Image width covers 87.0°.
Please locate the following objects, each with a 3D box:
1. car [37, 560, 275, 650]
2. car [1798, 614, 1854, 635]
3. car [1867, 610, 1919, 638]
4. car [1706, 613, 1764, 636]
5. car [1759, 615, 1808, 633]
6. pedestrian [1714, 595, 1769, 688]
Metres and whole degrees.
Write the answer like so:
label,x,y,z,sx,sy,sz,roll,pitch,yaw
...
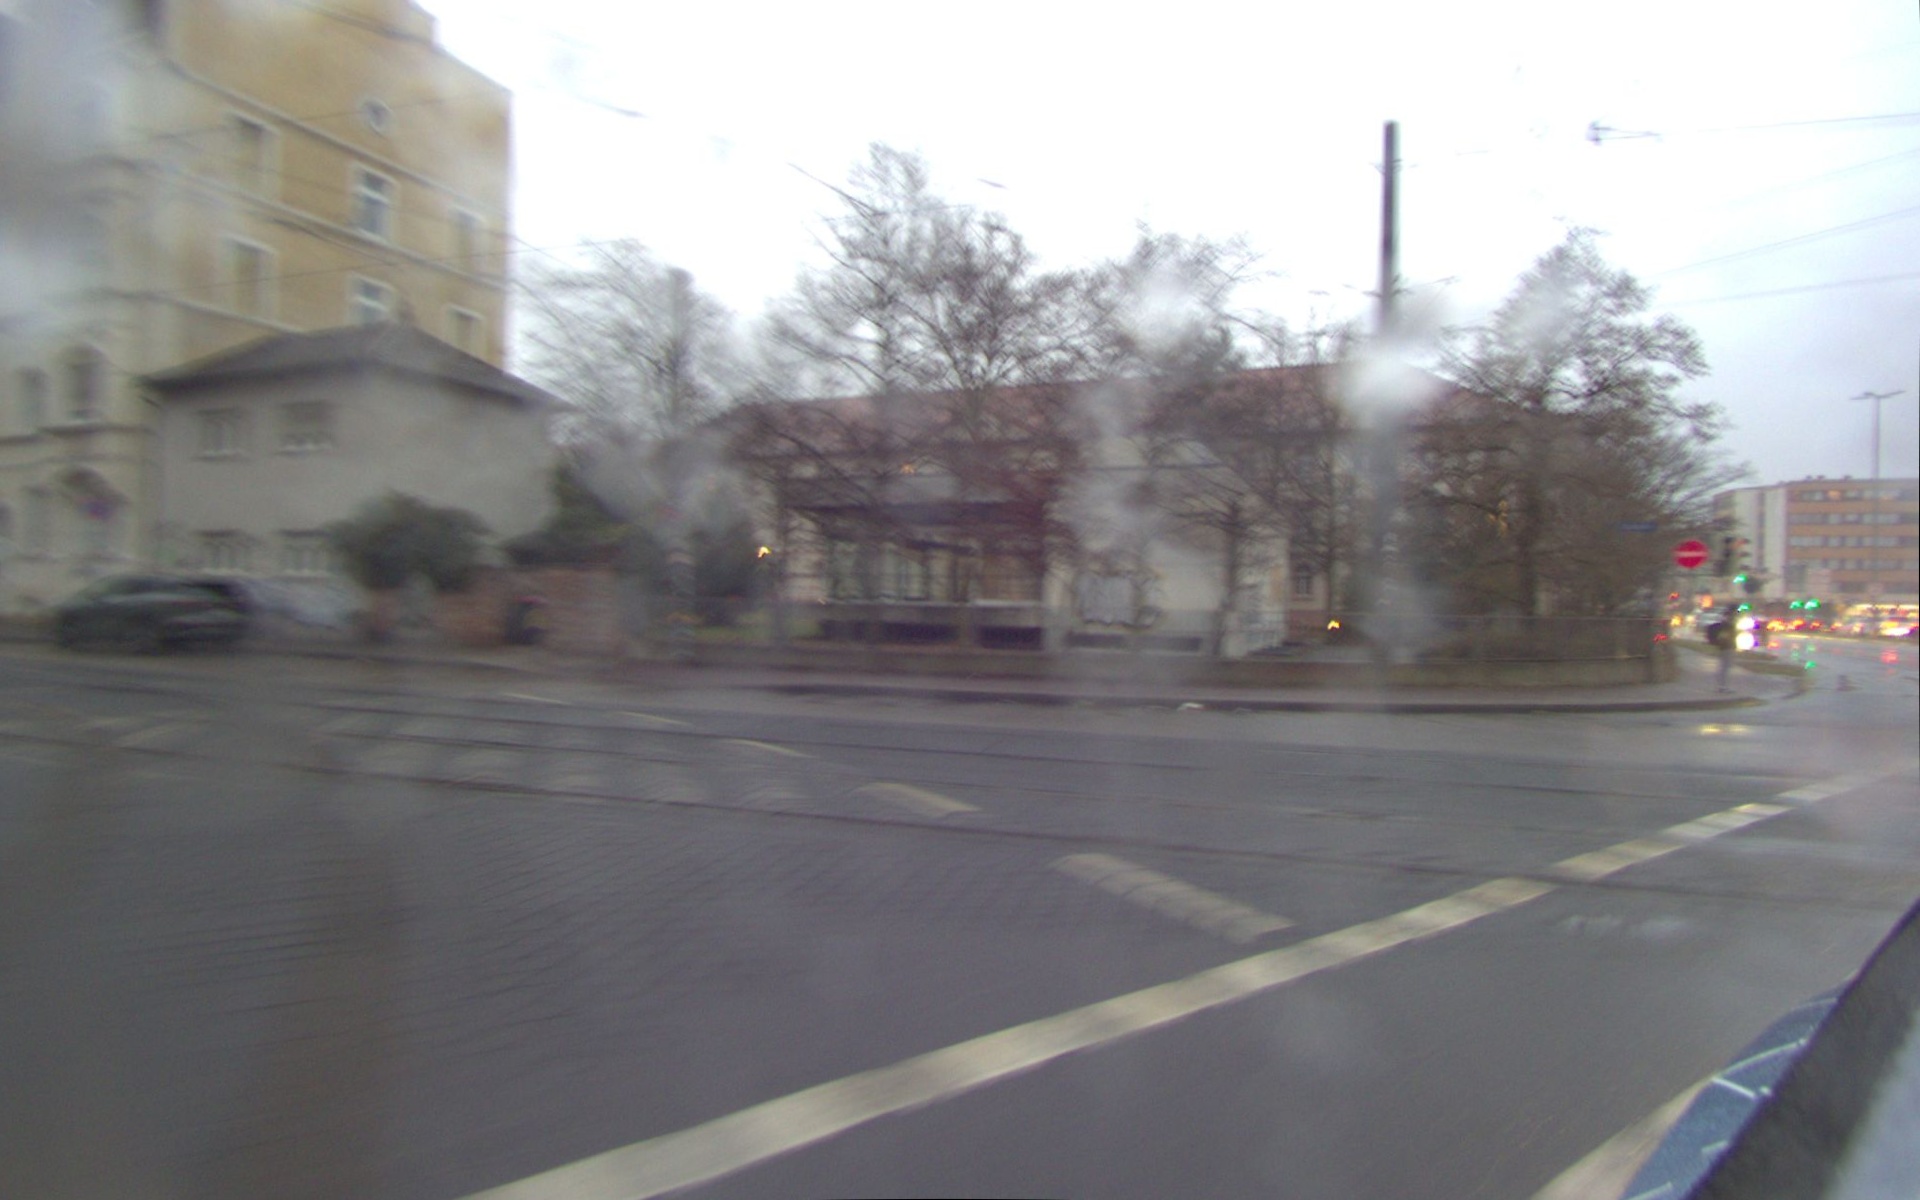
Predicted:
label,x,y,z,sx,sy,sz,roll,pitch,yaw
car,-17.170,0.063,21.629,4.457,1.691,1.986,2,0,21
car,67.801,1.874,79.312,1.946,1.533,4.500,2,0,22
car,64.131,1.617,68.996,1.946,1.805,4.499,2,0,22
car,53.005,1.652,69.279,1.946,1.404,4.500,2,0,22
car,71.002,2.019,87.325,1.946,1.404,4.500,2,0,22
pedestrian,16.369,0.866,21.203,0.671,1.860,0.574,4,4,-40
